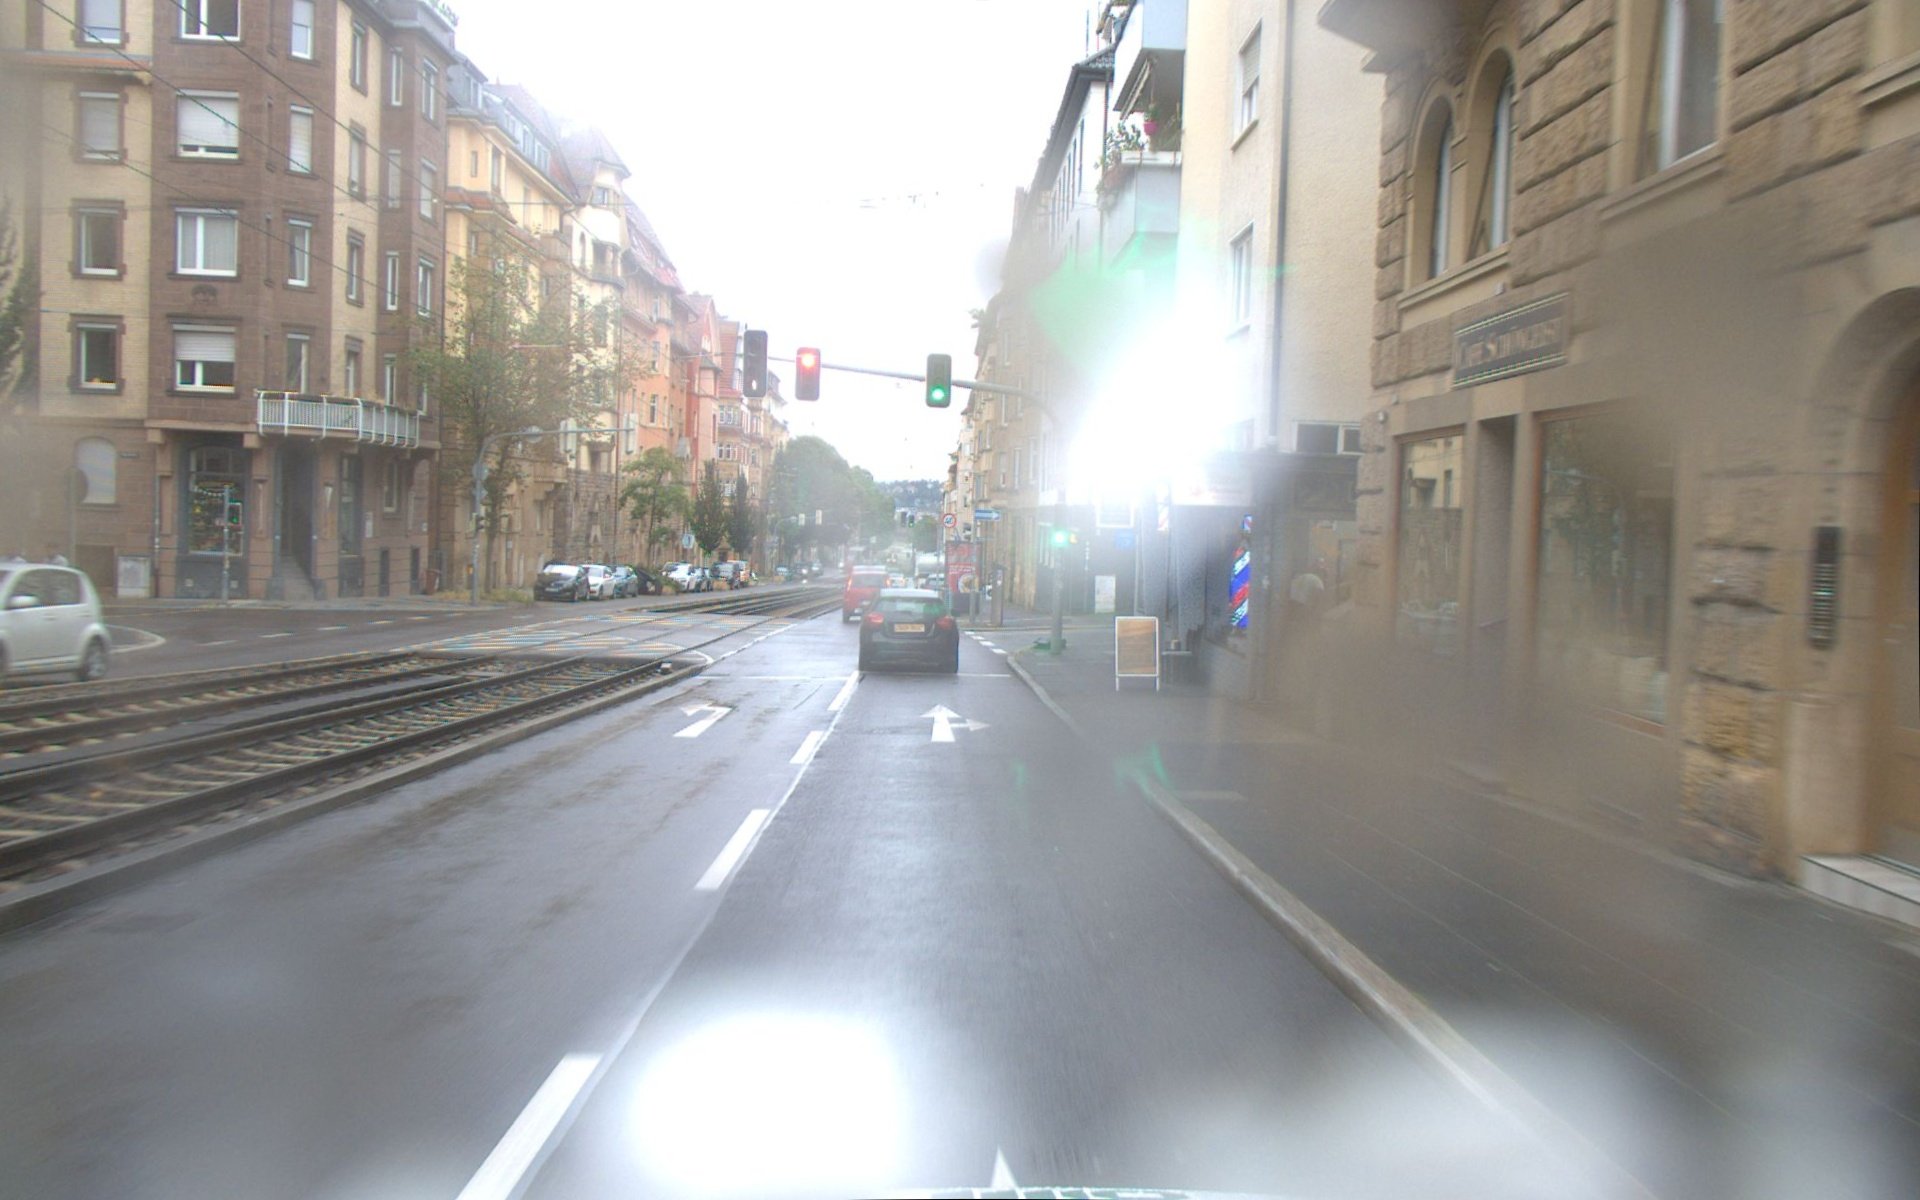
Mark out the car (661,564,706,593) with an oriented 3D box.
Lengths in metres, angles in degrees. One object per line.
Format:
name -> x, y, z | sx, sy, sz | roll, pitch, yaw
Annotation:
car -> -15.958, -1.250, 95.523 | 1.747, 1.617, 4.352 | 0, 0, 1

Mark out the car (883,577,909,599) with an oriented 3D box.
car -> -4.810, -0.924, 124.967 | 1.864, 1.621, 3.999 | 1, 0, -1

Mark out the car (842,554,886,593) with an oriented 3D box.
car -> -4.288, -1.194, 73.624 | 1.883, 1.684, 3.997 | 0, 1, -4

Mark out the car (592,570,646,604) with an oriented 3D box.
car -> -15.702, -0.593, 76.340 | 1.529, 1.463, 4.146 | 1, 0, 1

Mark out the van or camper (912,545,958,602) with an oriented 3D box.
van or camper -> -1.180, -1.233, 77.236 | 2.022, 2.512, 6.118 | 1, 1, -1

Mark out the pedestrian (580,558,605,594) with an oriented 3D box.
pedestrian -> -18.342, -1.199, 82.623 | 0.986, 1.784, 0.924 | 2, 1, 0

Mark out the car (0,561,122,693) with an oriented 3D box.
car -> -11.808, 0.285, 19.948 | 1.594, 1.508, 3.581 | 1, 1, -1

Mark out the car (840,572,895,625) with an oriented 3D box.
car -> -2.846, -0.056, 51.596 | 1.504, 1.536, 3.999 | 2, 0, -1

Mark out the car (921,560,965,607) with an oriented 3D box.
car -> -0.725, -0.714, 68.825 | 1.733, 1.839, 4.481 | 2, 1, -1

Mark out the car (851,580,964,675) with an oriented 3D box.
car -> -0.961, 0.449, 29.909 | 1.907, 1.592, 3.641 | 1, 1, -2

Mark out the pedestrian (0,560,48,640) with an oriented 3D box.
pedestrian -> -17.405, -0.011, 30.536 | 0.738, 1.446, 0.645 | 1, 0, 1

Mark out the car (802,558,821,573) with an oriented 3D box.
car -> -18.656, -4.377, 207.938 | 1.953, 1.825, 4.000 | 2, 1, -1

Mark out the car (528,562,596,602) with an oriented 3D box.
car -> -15.729, -0.699, 65.562 | 1.729, 1.512, 4.000 | 1, 0, -1

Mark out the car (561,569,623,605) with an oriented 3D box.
car -> -15.680, -0.582, 70.616 | 1.633, 1.450, 4.263 | 1, 1, 0

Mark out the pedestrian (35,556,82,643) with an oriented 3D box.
pedestrian -> -16.676, -0.009, 30.611 | 0.506, 1.598, 0.643 | 0, 0, 2
